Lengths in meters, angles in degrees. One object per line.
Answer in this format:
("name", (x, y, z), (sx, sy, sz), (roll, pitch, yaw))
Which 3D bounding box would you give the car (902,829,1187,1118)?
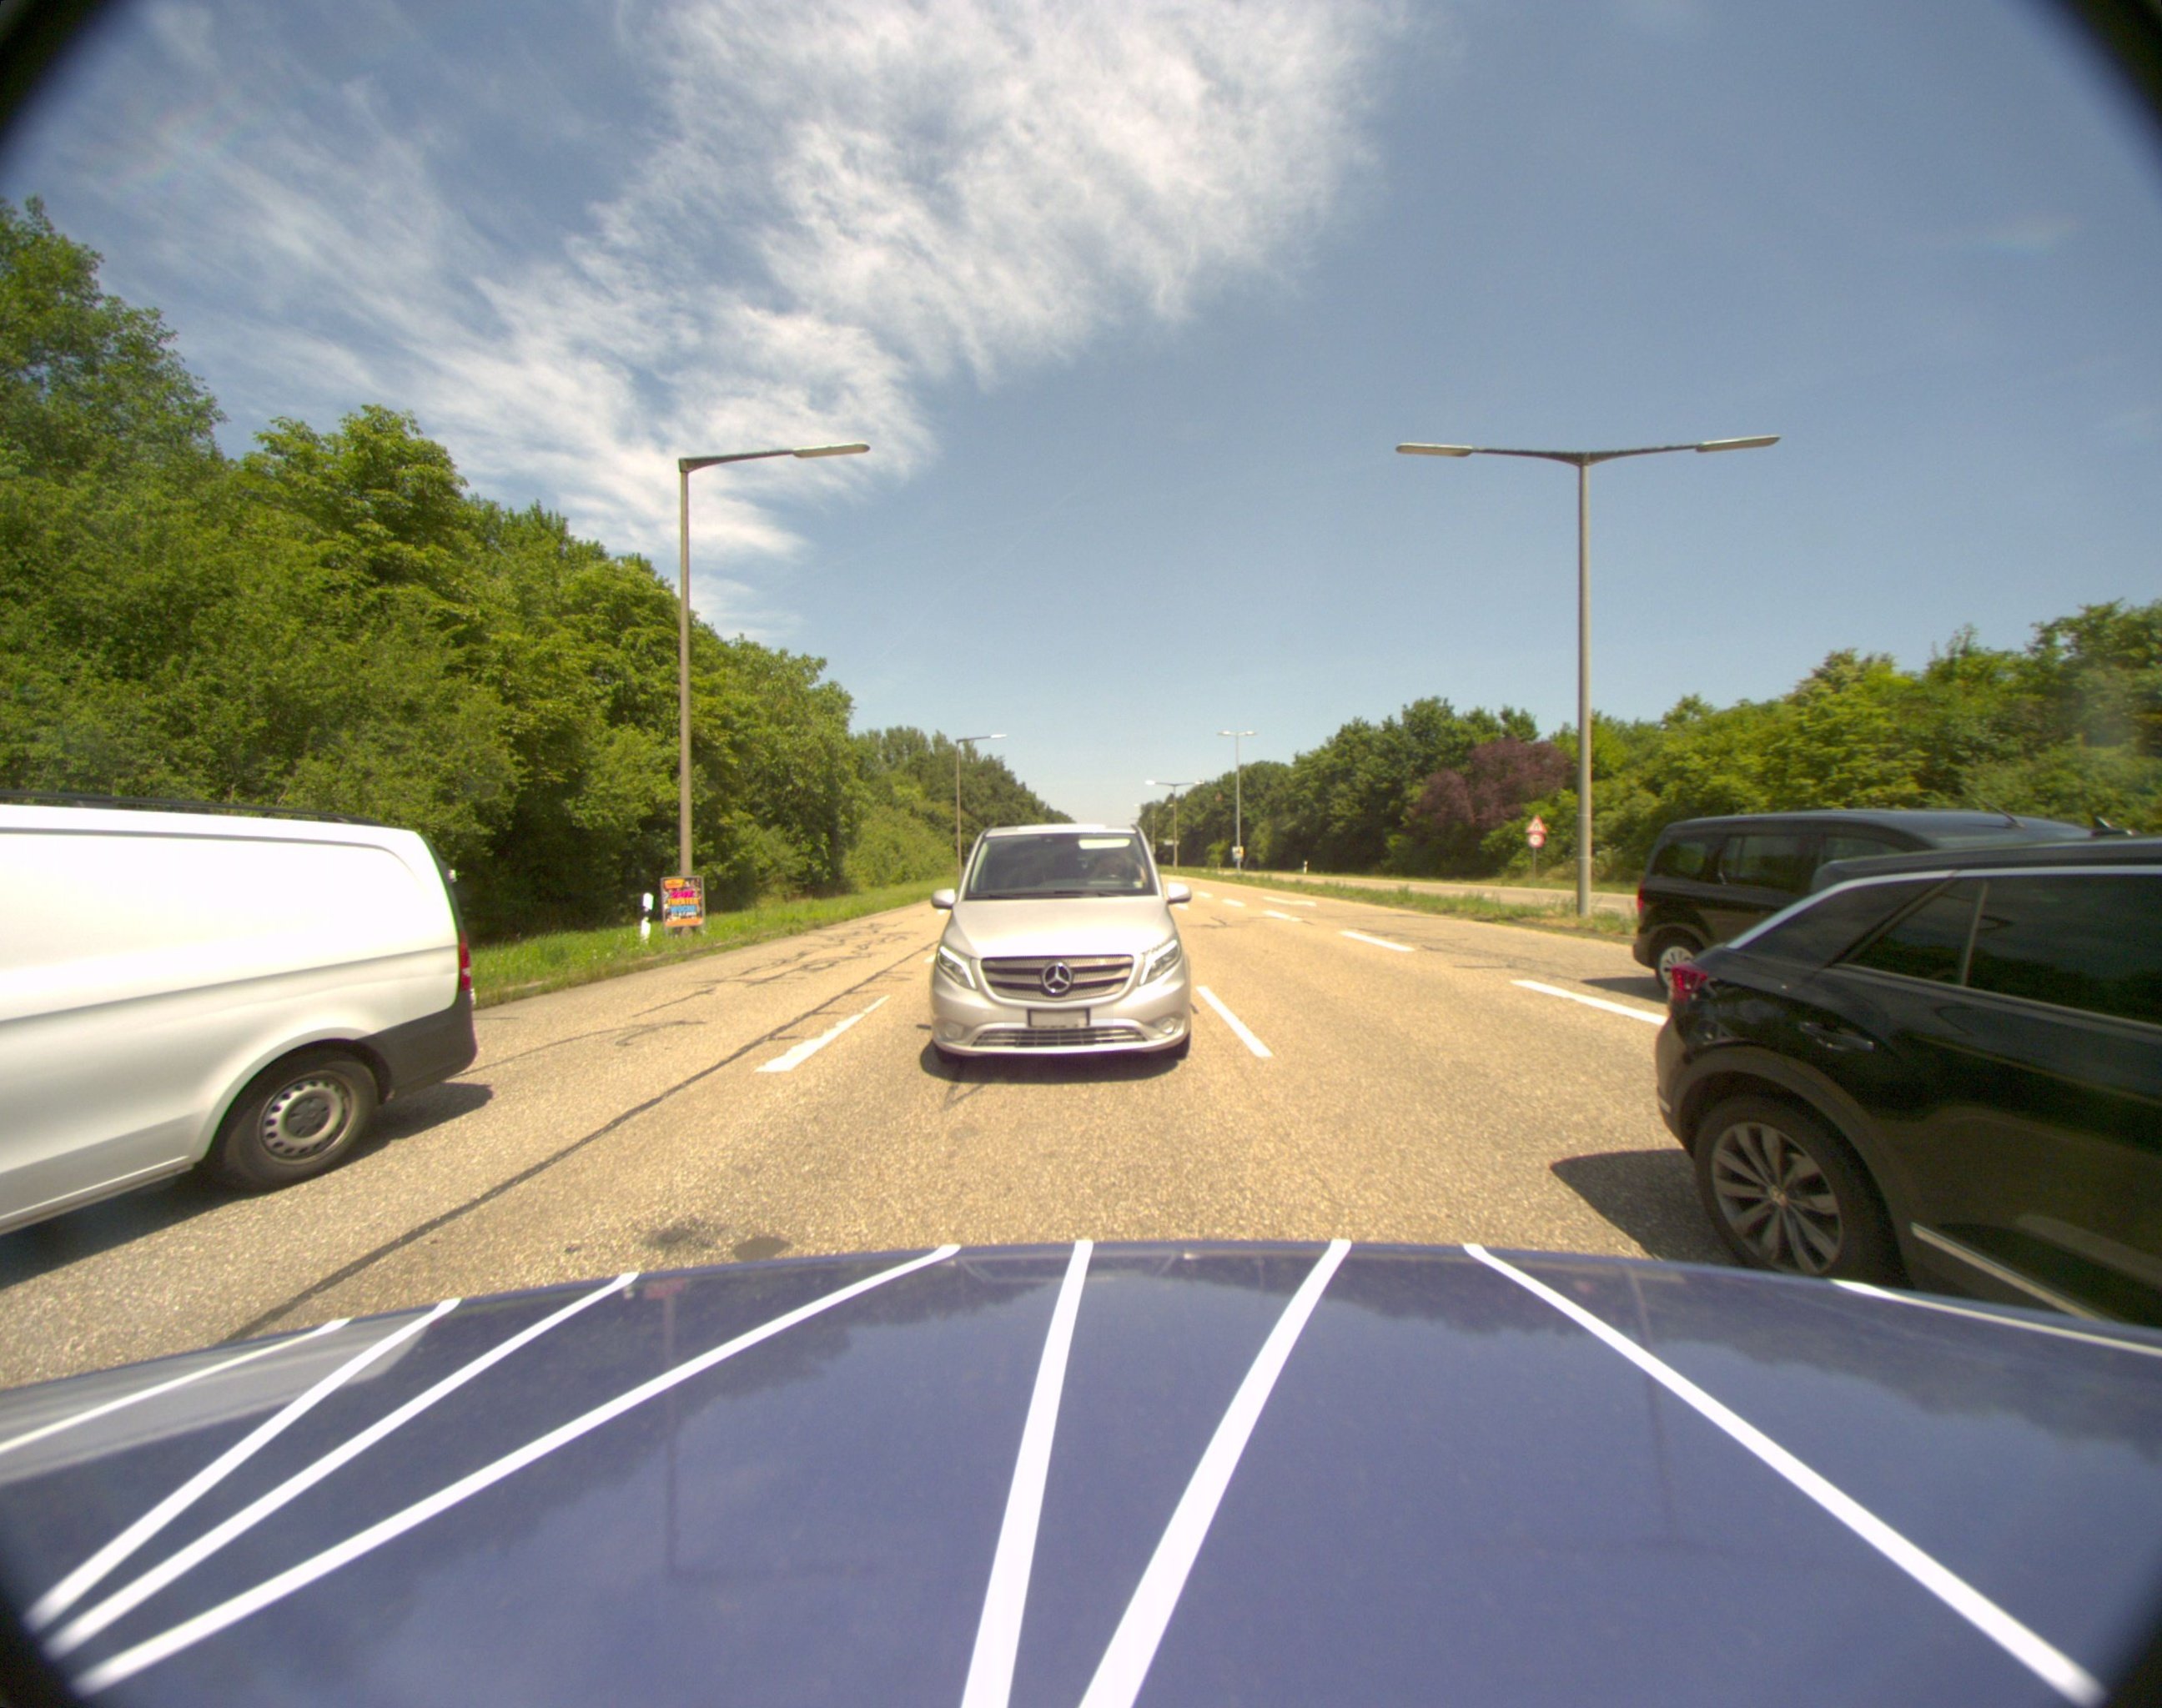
("car", (-0.201, 0.767, 7.296), (1.764, 1.794, 4.855), (-2, 0, 1))

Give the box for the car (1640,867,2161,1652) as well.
("car", (3.042, 0.855, 0.979), (1.739, 1.503, 3.970), (-2, 1, 1))

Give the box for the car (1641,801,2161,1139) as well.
("car", (6.624, 0.613, 5.610), (1.736, 1.815, 4.321), (-1, 0, -1))

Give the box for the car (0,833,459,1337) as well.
("car", (-4.878, 0.843, 2.143), (1.864, 1.807, 4.910), (-1, 0, 6))
